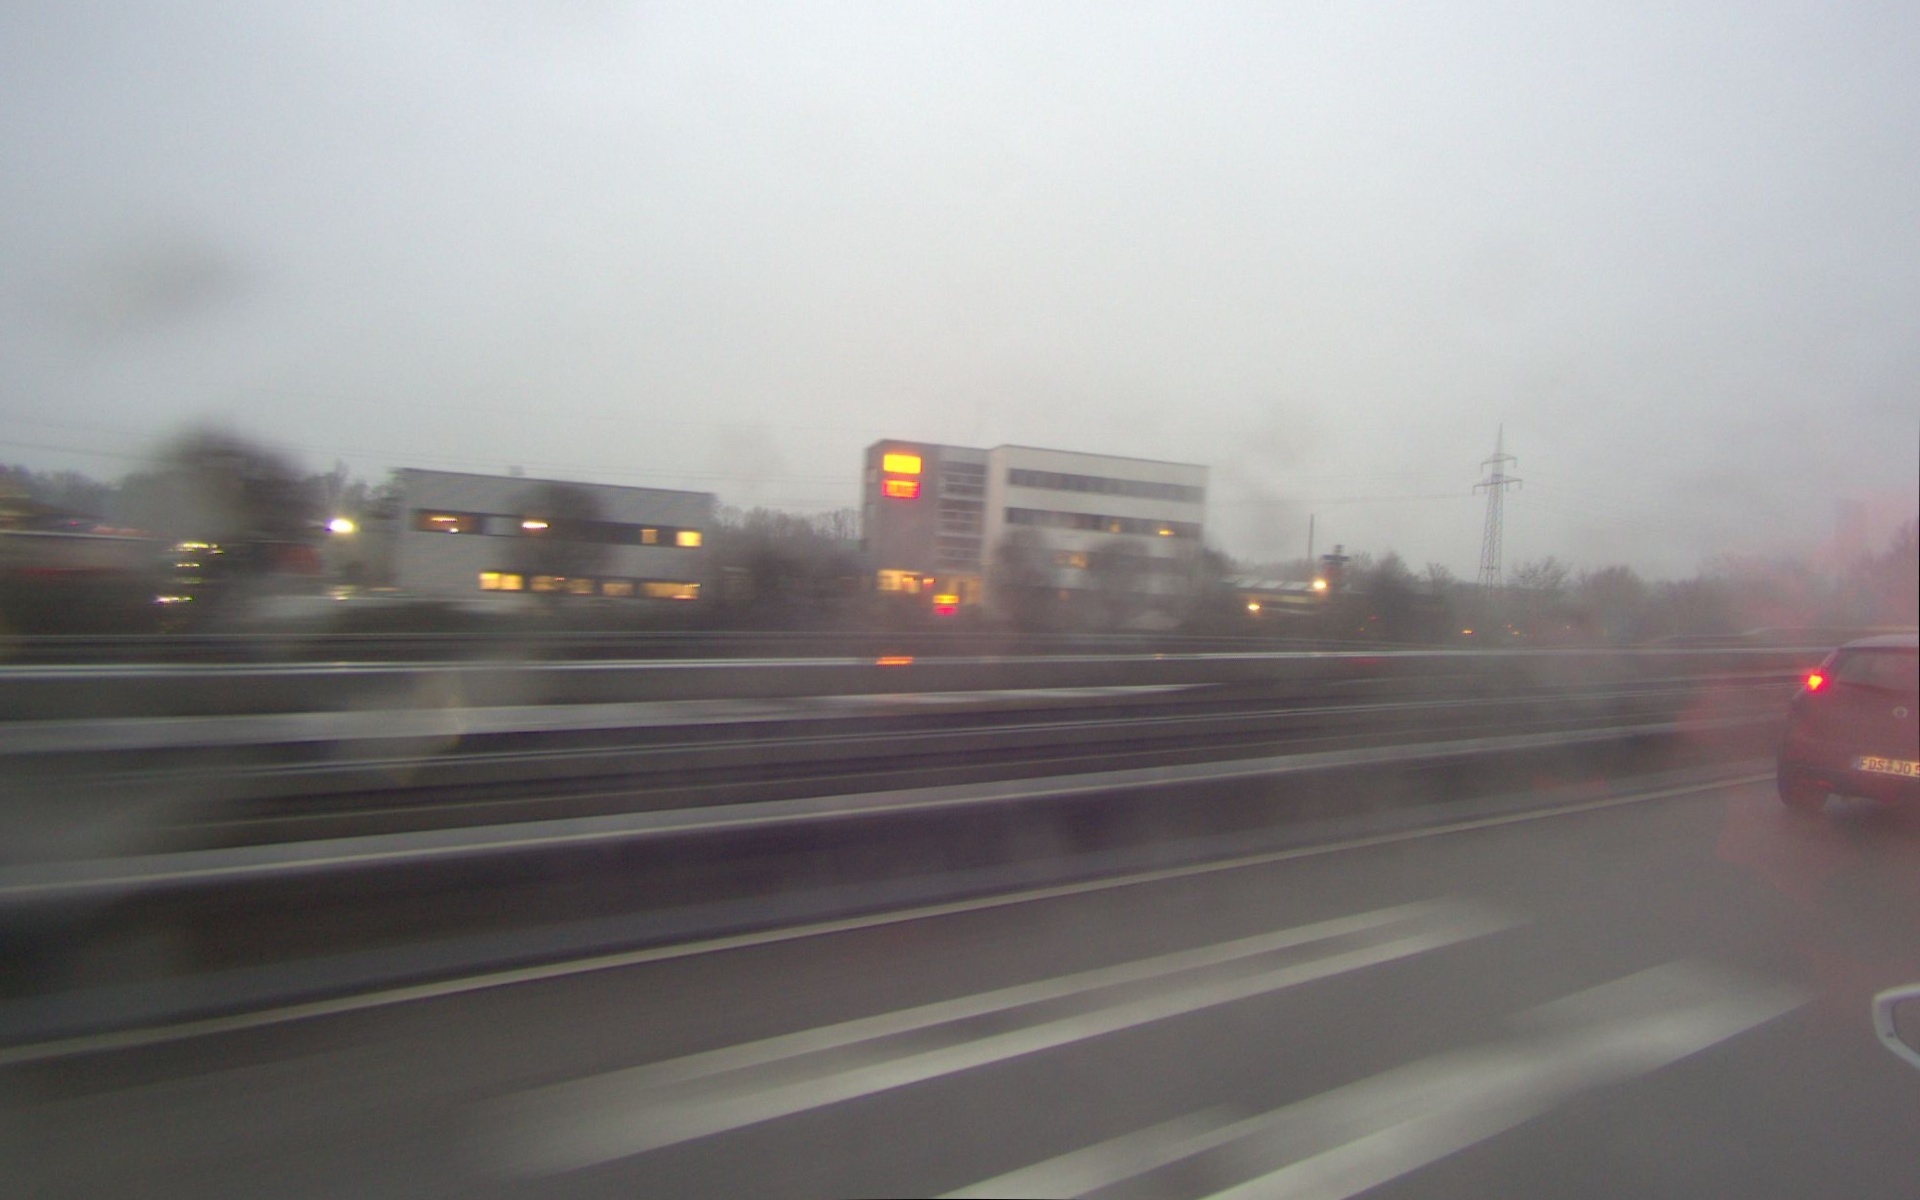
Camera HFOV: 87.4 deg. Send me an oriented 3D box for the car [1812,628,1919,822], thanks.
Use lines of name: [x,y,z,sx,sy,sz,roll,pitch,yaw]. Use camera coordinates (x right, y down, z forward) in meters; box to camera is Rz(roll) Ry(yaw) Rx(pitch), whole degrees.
car: [8.811,0.988,8.356,3.958,1.410,1.616,2,-1,-34]

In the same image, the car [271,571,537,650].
car: [-15.780,0.335,28.824,6.436,2.040,1.978,2,-1,-39]
